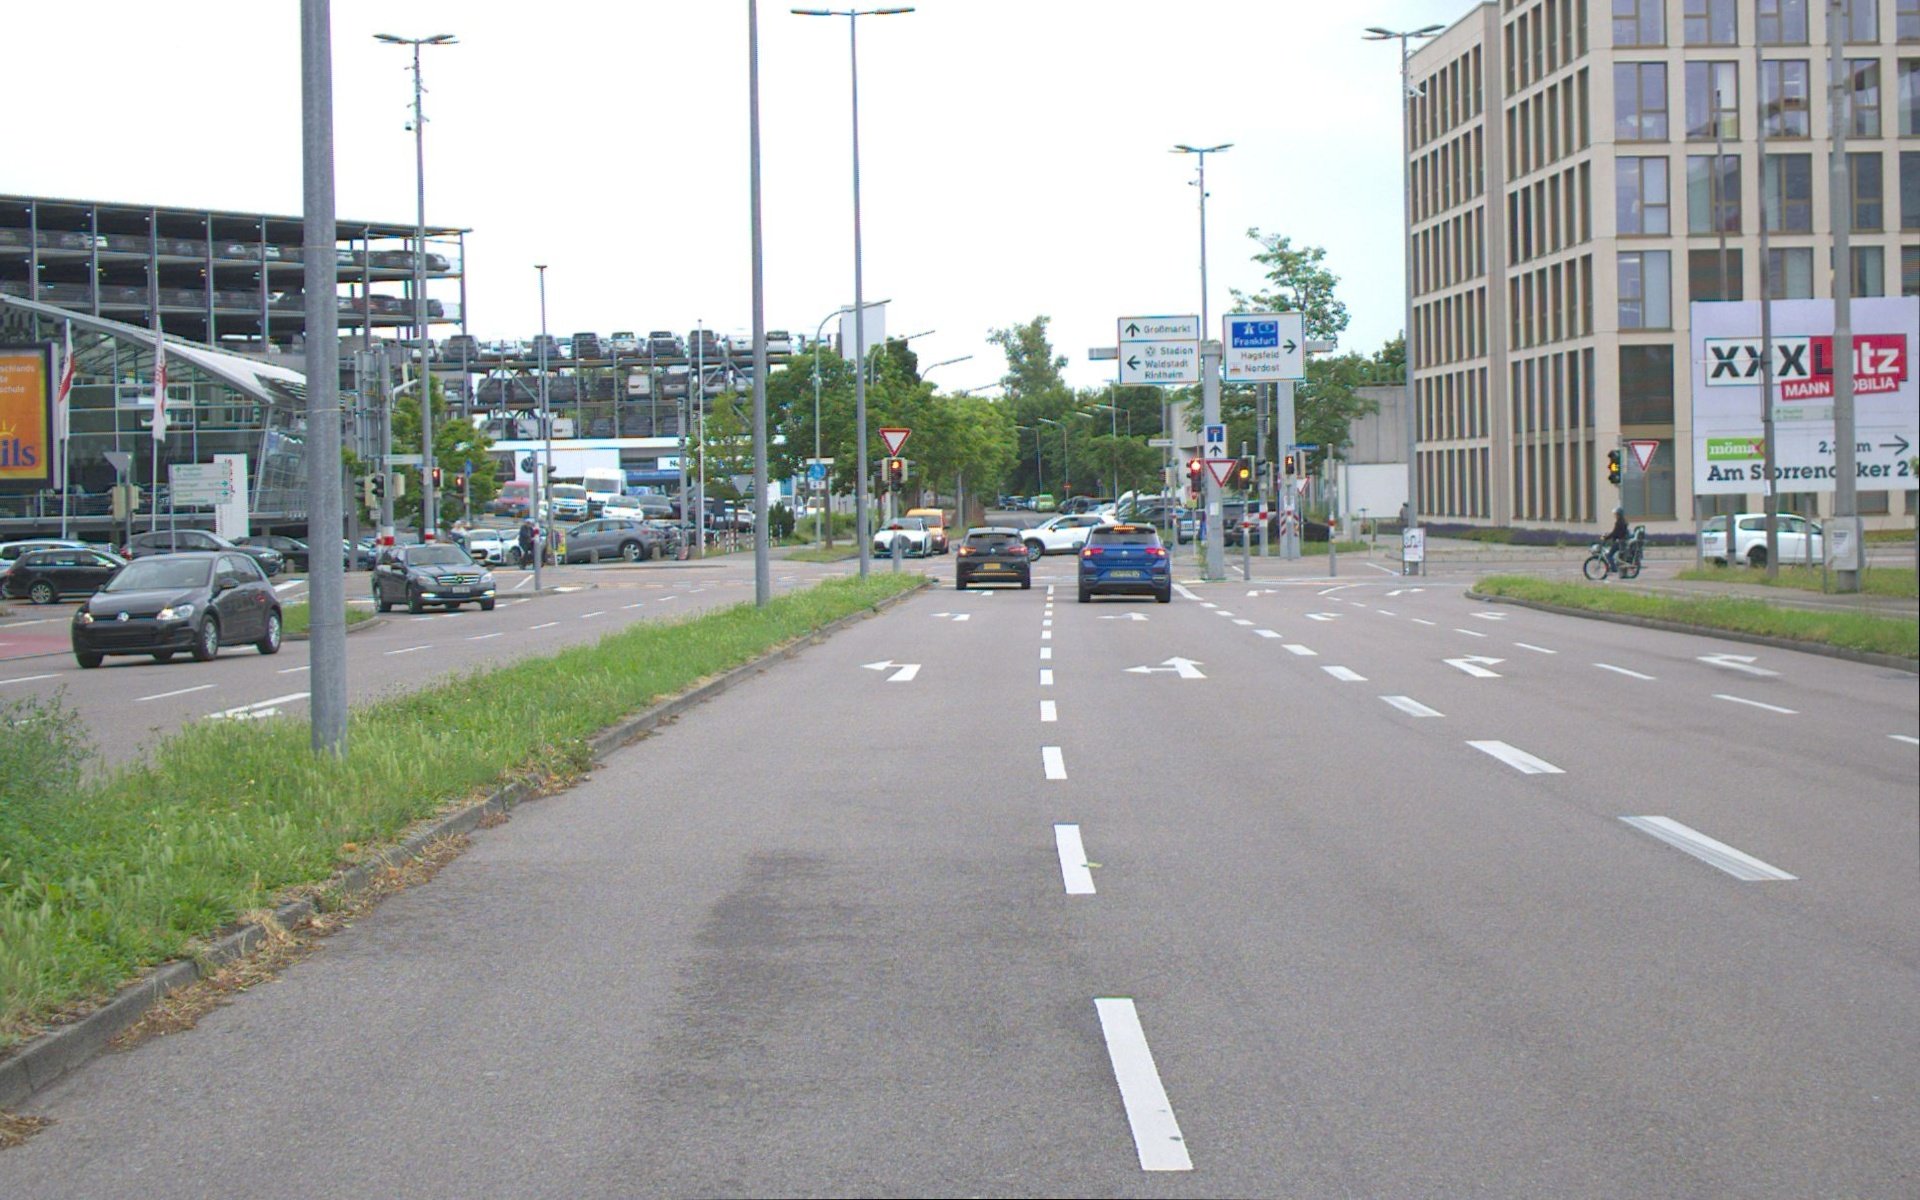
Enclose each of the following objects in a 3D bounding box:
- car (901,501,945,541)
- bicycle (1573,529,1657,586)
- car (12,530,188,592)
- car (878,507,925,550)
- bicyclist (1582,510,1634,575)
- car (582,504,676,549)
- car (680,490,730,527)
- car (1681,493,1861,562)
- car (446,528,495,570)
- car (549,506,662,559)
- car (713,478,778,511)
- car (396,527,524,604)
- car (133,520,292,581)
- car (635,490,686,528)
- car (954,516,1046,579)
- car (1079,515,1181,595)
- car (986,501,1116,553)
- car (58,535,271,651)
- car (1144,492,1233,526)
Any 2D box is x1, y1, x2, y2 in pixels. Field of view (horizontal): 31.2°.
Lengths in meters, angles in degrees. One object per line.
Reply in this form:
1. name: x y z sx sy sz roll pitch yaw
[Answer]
1. car: -1.452 -3.143 136.175 1.600 1.448 3.324 -1 3 1
2. bicycle: 15.449 -1.008 81.107 0.700 1.291 2.011 -2 2 -35
3. car: -23.456 -1.076 93.893 4.415 1.654 2.000 -1 1 -6
4. car: -2.163 -2.667 128.054 1.600 1.448 3.324 -1 3 1
5. bicyclist: 15.320 -1.364 81.285 0.700 1.498 1.000 -2 2 -35
6. car: -12.991 -2.906 135.129 3.605 1.662 1.549 -1 3 -3
7. car: -12.478 -4.491 168.421 1.776 1.700 3.916 0 3 6
8. car: 21.206 -1.905 89.919 4.165 1.746 2.001 -1 1 -22
9. car: -17.032 -1.790 119.512 1.370 1.321 3.035 -2 3 -13
10. car: -12.812 -2.440 124.438 3.986 1.784 1.848 -1 3 -3
11. car: -11.117 -5.476 178.419 3.295 1.635 1.480 -1 3 -2
12. car: -10.495 -0.757 72.459 1.791 1.474 4.531 -2 1 3
13. car: -21.847 -1.457 100.618 4.401 1.638 2.001 -1 3 -10
14. car: -14.669 -4.461 168.427 1.776 1.700 3.916 0 3 6
15. car: 0.905 -1.203 80.160 1.987 1.423 4.241 -1 0 -1
16. car: 3.301 -0.901 67.480 1.835 1.509 4.000 0 2 0
17. car: 2.933 -2.372 111.445 3.941 1.562 1.760 -1 3 -8
18. car: -10.542 -0.126 45.836 1.931 1.450 4.182 -1 1 -1
19. car: 10.293 -4.100 154.822 3.607 1.473 1.758 0 3 21
